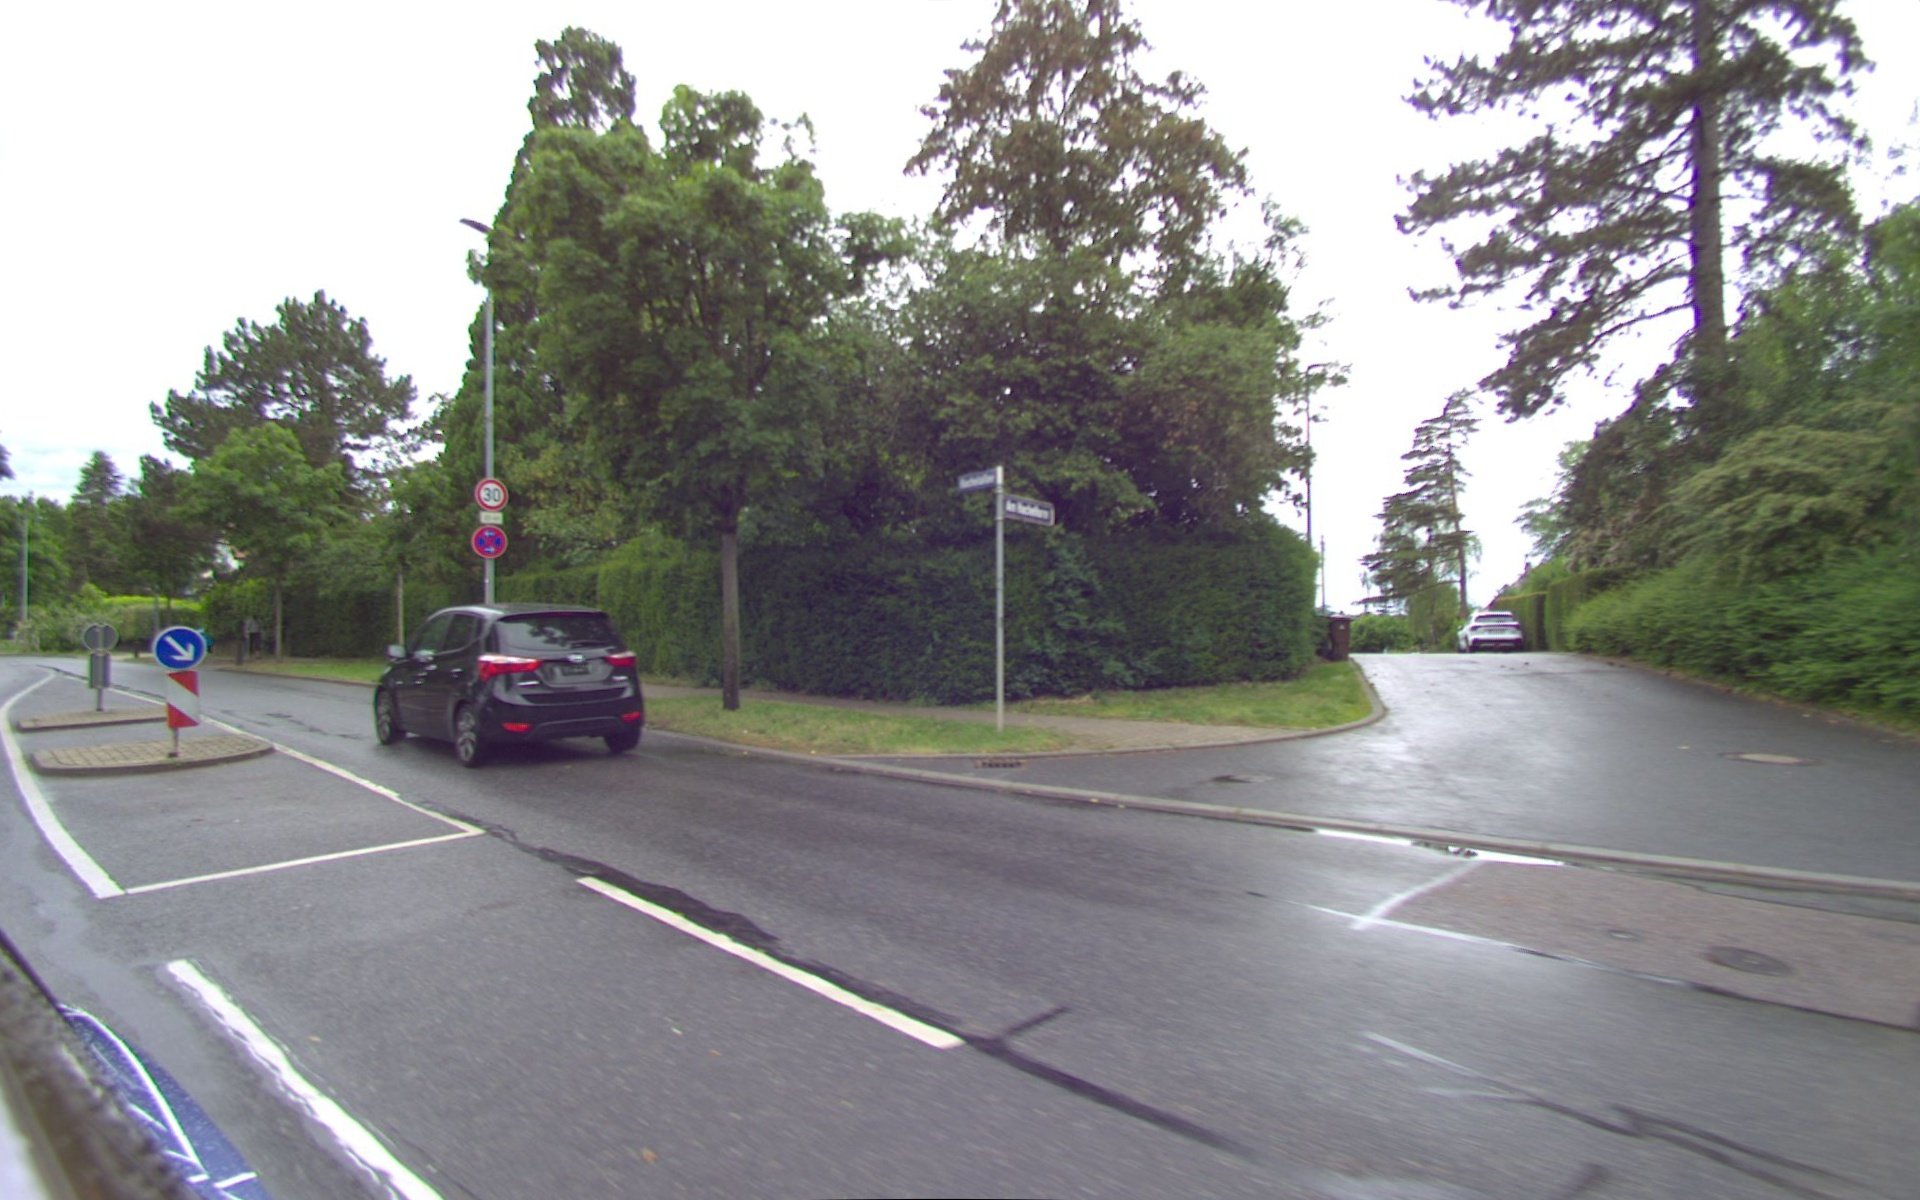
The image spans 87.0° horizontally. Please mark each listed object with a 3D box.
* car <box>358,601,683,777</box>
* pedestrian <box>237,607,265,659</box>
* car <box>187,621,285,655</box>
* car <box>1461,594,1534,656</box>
[{"bbox_3d":[-5.009,0.841,11.273,4.001,1.589,1.971,-1,-1,44],"label":"car"},{"bbox_3d":[-25.958,1.197,37.062,0.702,1.844,0.883,-3,1,-39],"label":"pedestrian"},{"bbox_3d":[-37.432,1.932,52.398,1.817,1.598,3.812,-2,0,40],"label":"car"},{"bbox_3d":[19.273,0.868,36.422,1.988,2.029,3.968,-2,0,24],"label":"car"}]
